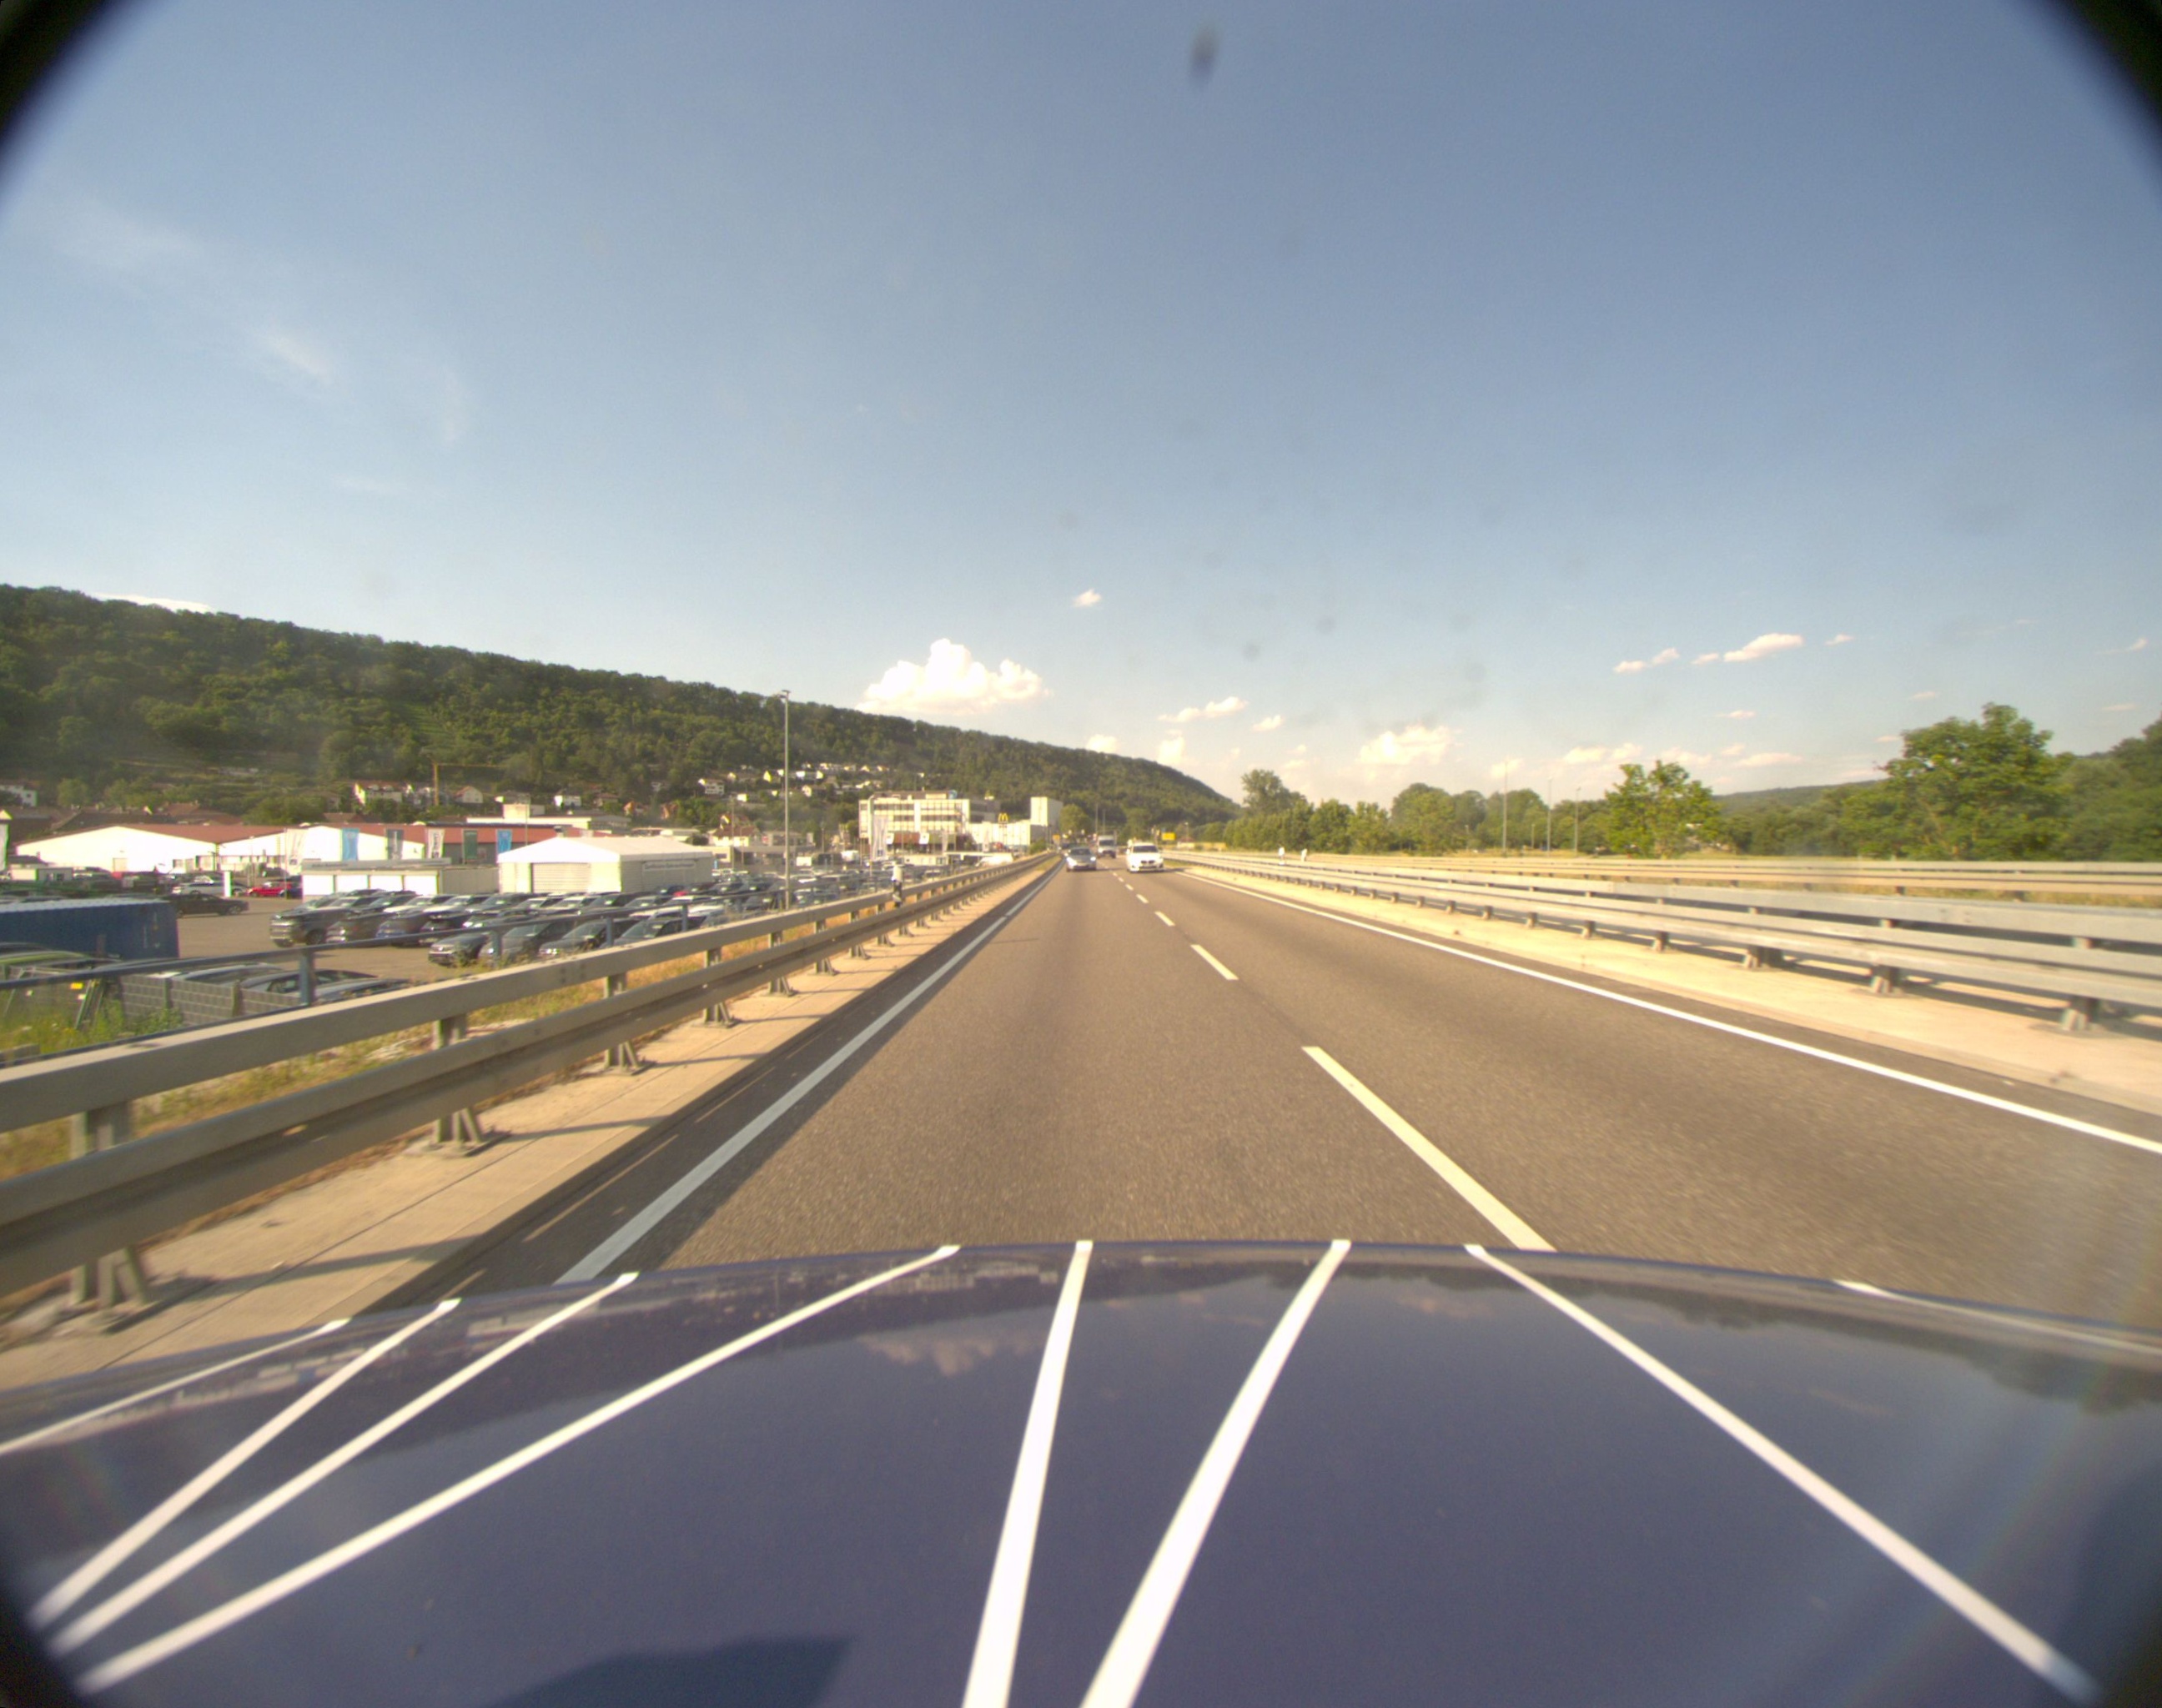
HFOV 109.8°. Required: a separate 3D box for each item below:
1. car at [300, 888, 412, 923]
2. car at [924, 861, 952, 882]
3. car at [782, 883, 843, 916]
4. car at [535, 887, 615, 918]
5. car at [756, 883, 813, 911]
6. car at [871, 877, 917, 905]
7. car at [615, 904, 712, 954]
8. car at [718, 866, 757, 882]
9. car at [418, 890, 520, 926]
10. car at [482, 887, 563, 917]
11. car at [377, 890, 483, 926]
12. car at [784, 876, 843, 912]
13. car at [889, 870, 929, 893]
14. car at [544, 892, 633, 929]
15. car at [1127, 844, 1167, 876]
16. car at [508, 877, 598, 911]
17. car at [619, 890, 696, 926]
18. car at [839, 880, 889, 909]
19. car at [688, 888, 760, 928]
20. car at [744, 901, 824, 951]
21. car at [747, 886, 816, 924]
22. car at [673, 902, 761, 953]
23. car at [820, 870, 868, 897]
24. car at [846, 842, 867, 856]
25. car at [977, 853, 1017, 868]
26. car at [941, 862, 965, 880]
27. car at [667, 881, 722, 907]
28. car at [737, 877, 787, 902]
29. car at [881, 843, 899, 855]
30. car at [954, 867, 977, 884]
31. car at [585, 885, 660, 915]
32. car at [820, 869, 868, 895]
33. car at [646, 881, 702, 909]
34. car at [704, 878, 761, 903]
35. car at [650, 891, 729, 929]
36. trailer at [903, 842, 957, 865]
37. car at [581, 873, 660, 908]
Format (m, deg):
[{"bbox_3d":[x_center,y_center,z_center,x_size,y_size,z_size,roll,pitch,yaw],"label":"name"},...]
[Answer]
[{"bbox_3d":[-43.455,3.048,45.705,1.884,1.627,4.730,-2,1,5],"label":"car"},{"bbox_3d":[-13.108,1.559,69.860,1.885,1.616,4.726,-2,1,-4],"label":"car"},{"bbox_3d":[-17.287,2.905,49.233,1.884,1.627,4.730,-2,1,5],"label":"car"},{"bbox_3d":[-34.063,3.240,51.338,1.883,1.627,4.730,-2,1,5],"label":"car"},{"bbox_3d":[-21.769,3.110,55.956,1.883,1.627,4.730,-2,1,6],"label":"car"},{"bbox_3d":[-13.329,2.599,54.394,1.884,1.616,4.729,-2,1,3],"label":"car"},{"bbox_3d":[-18.224,3.220,33.381,1.779,1.674,4.000,-2,1,4],"label":"car"},{"bbox_3d":[-43.973,2.601,97.264,3.995,1.849,1.927,-2,2,8],"label":"car"},{"bbox_3d":[-36.280,3.179,45.198,1.884,1.627,4.730,-2,1,5],"label":"car"},{"bbox_3d":[-38.777,3.307,52.898,1.883,1.627,4.574,-2,1,5],"label":"car"},{"bbox_3d":[-38.674,3.186,45.326,1.884,1.627,4.730,-2,1,5],"label":"car"},{"bbox_3d":[-14.908,2.194,42.507,1.779,1.674,3.999,-2,1,1],"label":"car"},{"bbox_3d":[-14.496,2.308,64.207,1.884,1.616,4.730,-2,1,5],"label":"car"},{"bbox_3d":[-28.987,3.287,44.940,1.884,1.627,4.730,-2,1,4],"label":"car"},{"bbox_3d":[3.535,0.291,41.490,1.825,1.552,3.999,-2,1,1],"label":"car"},{"bbox_3d":[-31.597,2.369,45.668,1.884,1.627,4.729,-2,1,3],"label":"car"},{"bbox_3d":[-24.382,3.081,43.915,1.778,1.674,4.001,-2,1,7],"label":"car"},{"bbox_3d":[-15.475,2.866,54.536,1.884,1.627,4.729,-2,1,4],"label":"car"},{"bbox_3d":[-19.985,2.985,42.752,1.840,1.706,4.665,-2,1,-1],"label":"car"},{"bbox_3d":[-12.918,3.110,33.344,1.779,1.674,3.999,-2,1,1],"label":"car"},{"bbox_3d":[-16.791,2.831,42.857,2.004,1.641,4.728,-2,1,-1],"label":"car"},{"bbox_3d":[-15.784,3.153,33.199,1.779,1.674,3.999,-2,1,1],"label":"car"},{"bbox_3d":[-19.930,2.483,64.115,1.883,1.920,4.732,-2,1,10],"label":"car"},{"bbox_3d":[-41.695,-0.928,141.196,1.759,2.535,5.469,-2,1,3],"label":"car"},{"bbox_3d":[-12.989,0.975,117.476,5.895,2.002,2.000,-2,2,3],"label":"car"},{"bbox_3d":[-13.203,1.769,78.594,1.742,1.617,4.310,-2,1,0],"label":"car"},{"bbox_3d":[-29.917,3.083,58.936,1.778,1.674,4.001,-2,1,7],"label":"car"},{"bbox_3d":[-24.912,2.757,59.544,1.778,1.674,4.001,-2,1,7],"label":"car"},{"bbox_3d":[-36.575,-0.969,145.721,1.759,2.233,5.297,-2,1,3],"label":"car"},{"bbox_3d":[-13.075,2.429,86.141,1.741,1.617,4.310,-2,1,1],"label":"car"},{"bbox_3d":[-31.539,3.104,52.428,1.883,1.627,4.730,-1,1,5],"label":"car"},{"bbox_3d":[-18.015,2.122,58.042,1.884,1.627,4.729,-2,1,4],"label":"car"},{"bbox_3d":[-31.976,3.191,59.793,1.778,1.674,4.001,9,3,6],"label":"car"},{"bbox_3d":[-27.357,2.847,59.883,1.883,1.627,4.730,-2,1,6],"label":"car"},{"bbox_3d":[-22.161,3.126,43.262,1.884,1.627,4.729,-2,1,2],"label":"car"},{"bbox_3d":[-24.539,-0.101,123.474,7.897,3.304,3.358,-2,2,4],"label":"trailer"},{"bbox_3d":[-26.727,2.090,44.253,1.778,1.674,4.000,-2,1,5],"label":"car"}]
